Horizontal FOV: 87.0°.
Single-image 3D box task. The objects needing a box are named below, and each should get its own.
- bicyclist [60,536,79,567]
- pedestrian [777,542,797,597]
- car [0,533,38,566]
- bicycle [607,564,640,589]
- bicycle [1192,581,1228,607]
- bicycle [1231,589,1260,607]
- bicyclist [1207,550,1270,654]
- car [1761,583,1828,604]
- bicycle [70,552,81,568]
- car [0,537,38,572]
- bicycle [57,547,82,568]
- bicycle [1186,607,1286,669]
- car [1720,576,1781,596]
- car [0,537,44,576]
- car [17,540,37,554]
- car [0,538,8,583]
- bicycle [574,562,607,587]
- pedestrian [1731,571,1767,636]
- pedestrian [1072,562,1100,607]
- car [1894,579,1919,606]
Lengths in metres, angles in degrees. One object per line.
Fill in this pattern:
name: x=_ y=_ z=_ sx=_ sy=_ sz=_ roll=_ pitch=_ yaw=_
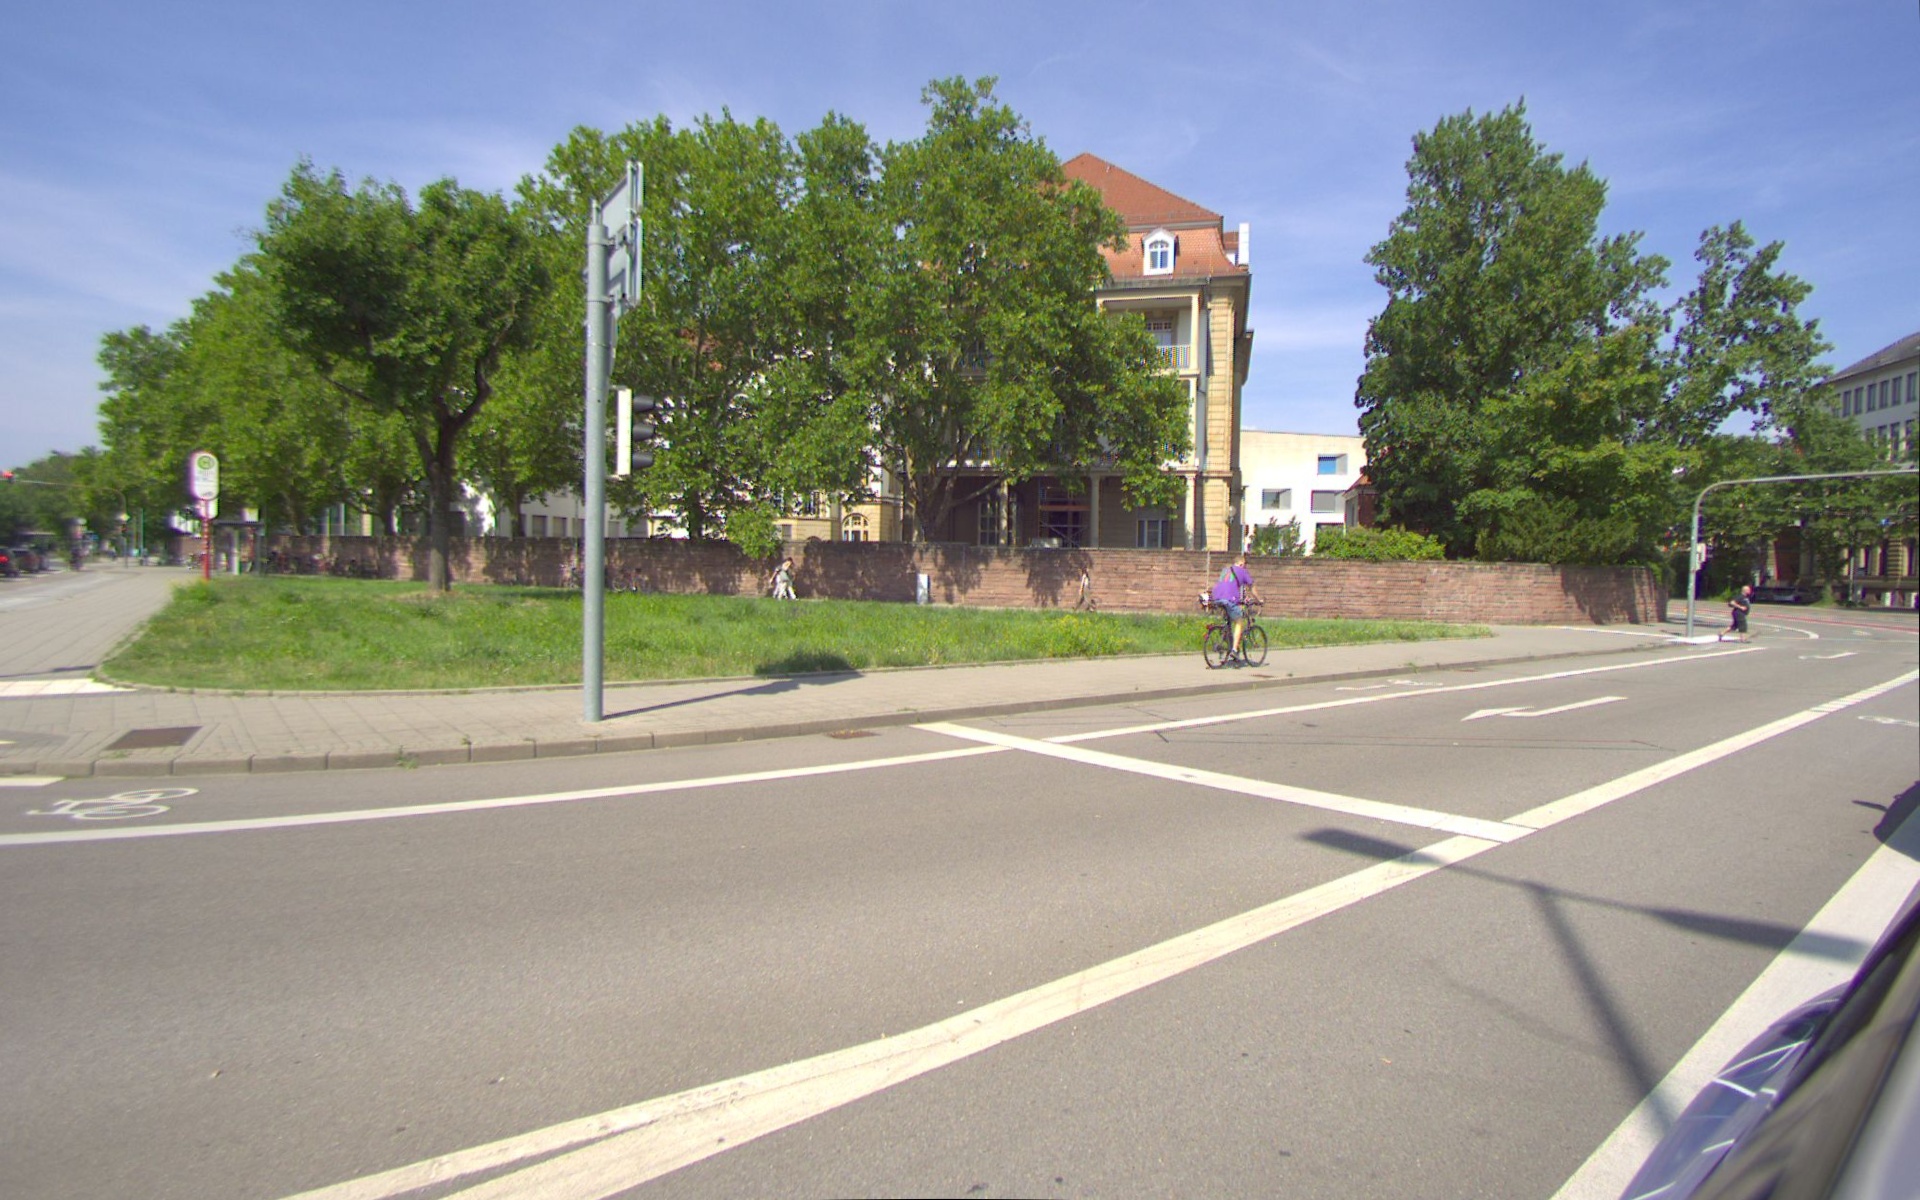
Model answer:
bicyclist: x=-59.097 y=-3.201 z=67.164 sx=0.763 sy=2.039 sz=1.274 roll=0 pitch=0 yaw=-34
pedestrian: x=-6.518 y=-1.162 z=38.167 sx=0.586 sy=2.038 sz=0.522 roll=1 pitch=2 yaw=8
car: x=-60.924 y=-3.253 z=65.391 sx=1.967 sy=2.038 sz=3.992 roll=-1 pitch=3 yaw=-43
bicycle: x=-14.517 y=-1.021 z=43.690 sx=1.432 sy=1.046 sz=0.444 roll=2 pitch=2 yaw=24
bicycle: x=8.824 y=-0.213 z=35.681 sx=1.202 sy=0.894 sz=0.395 roll=1 pitch=2 yaw=-21
bicycle: x=10.114 y=-0.069 z=35.809 sx=0.929 sy=0.609 sz=0.275 roll=1 pitch=2 yaw=-2
bicyclist: x=4.622 y=0.019 z=16.768 sx=1.067 sy=1.657 sz=0.487 roll=-1 pitch=3 yaw=-44
car: x=71.187 y=-0.571 z=86.388 sx=3.941 sy=1.682 sz=1.993 roll=-1 pitch=3 yaw=14
bicycle: x=-60.912 y=-2.746 z=69.699 sx=0.550 sy=1.064 sz=1.322 roll=0 pitch=3 yaw=-42
car: x=-56.652 y=-2.737 z=60.687 sx=1.966 sy=2.038 sz=3.994 roll=0 pitch=3 yaw=-42
bicycle: x=-59.045 y=-2.800 z=67.131 sx=0.832 sy=1.233 sz=3.485 roll=-1 pitch=0 yaw=-35
bicycle: x=4.602 y=0.603 z=16.778 sx=1.900 sy=0.898 sz=0.684 roll=-1 pitch=3 yaw=-43
car: x=72.969 y=-1.291 z=93.468 sx=3.943 sy=1.682 sz=1.992 roll=0 pitch=3 yaw=16
car: x=-50.818 y=-2.365 z=54.624 sx=1.966 sy=2.038 sz=3.994 roll=0 pitch=3 yaw=-42
car: x=-140.450 y=-7.973 z=152.339 sx=3.987 sy=2.039 sz=1.969 roll=0 pitch=0 yaw=44
car: x=-45.865 y=-1.887 z=47.252 sx=1.966 sy=2.038 sz=3.994 roll=0 pitch=3 yaw=-42
bicycle: x=-16.263 y=-1.142 z=44.543 sx=1.432 sy=1.046 sz=0.444 roll=2 pitch=2 yaw=24
pedestrian: x=25.340 y=0.103 z=32.508 sx=0.790 sy=2.038 sz=0.608 roll=2 pitch=1 yaw=35
pedestrian: x=4.485 y=-0.544 z=36.103 sx=0.900 sy=1.567 sz=0.501 roll=2 pitch=2 yaw=13
car: x=65.792 y=-0.523 z=67.982 sx=3.942 sy=1.682 sz=1.992 roll=0 pitch=3 yaw=15
